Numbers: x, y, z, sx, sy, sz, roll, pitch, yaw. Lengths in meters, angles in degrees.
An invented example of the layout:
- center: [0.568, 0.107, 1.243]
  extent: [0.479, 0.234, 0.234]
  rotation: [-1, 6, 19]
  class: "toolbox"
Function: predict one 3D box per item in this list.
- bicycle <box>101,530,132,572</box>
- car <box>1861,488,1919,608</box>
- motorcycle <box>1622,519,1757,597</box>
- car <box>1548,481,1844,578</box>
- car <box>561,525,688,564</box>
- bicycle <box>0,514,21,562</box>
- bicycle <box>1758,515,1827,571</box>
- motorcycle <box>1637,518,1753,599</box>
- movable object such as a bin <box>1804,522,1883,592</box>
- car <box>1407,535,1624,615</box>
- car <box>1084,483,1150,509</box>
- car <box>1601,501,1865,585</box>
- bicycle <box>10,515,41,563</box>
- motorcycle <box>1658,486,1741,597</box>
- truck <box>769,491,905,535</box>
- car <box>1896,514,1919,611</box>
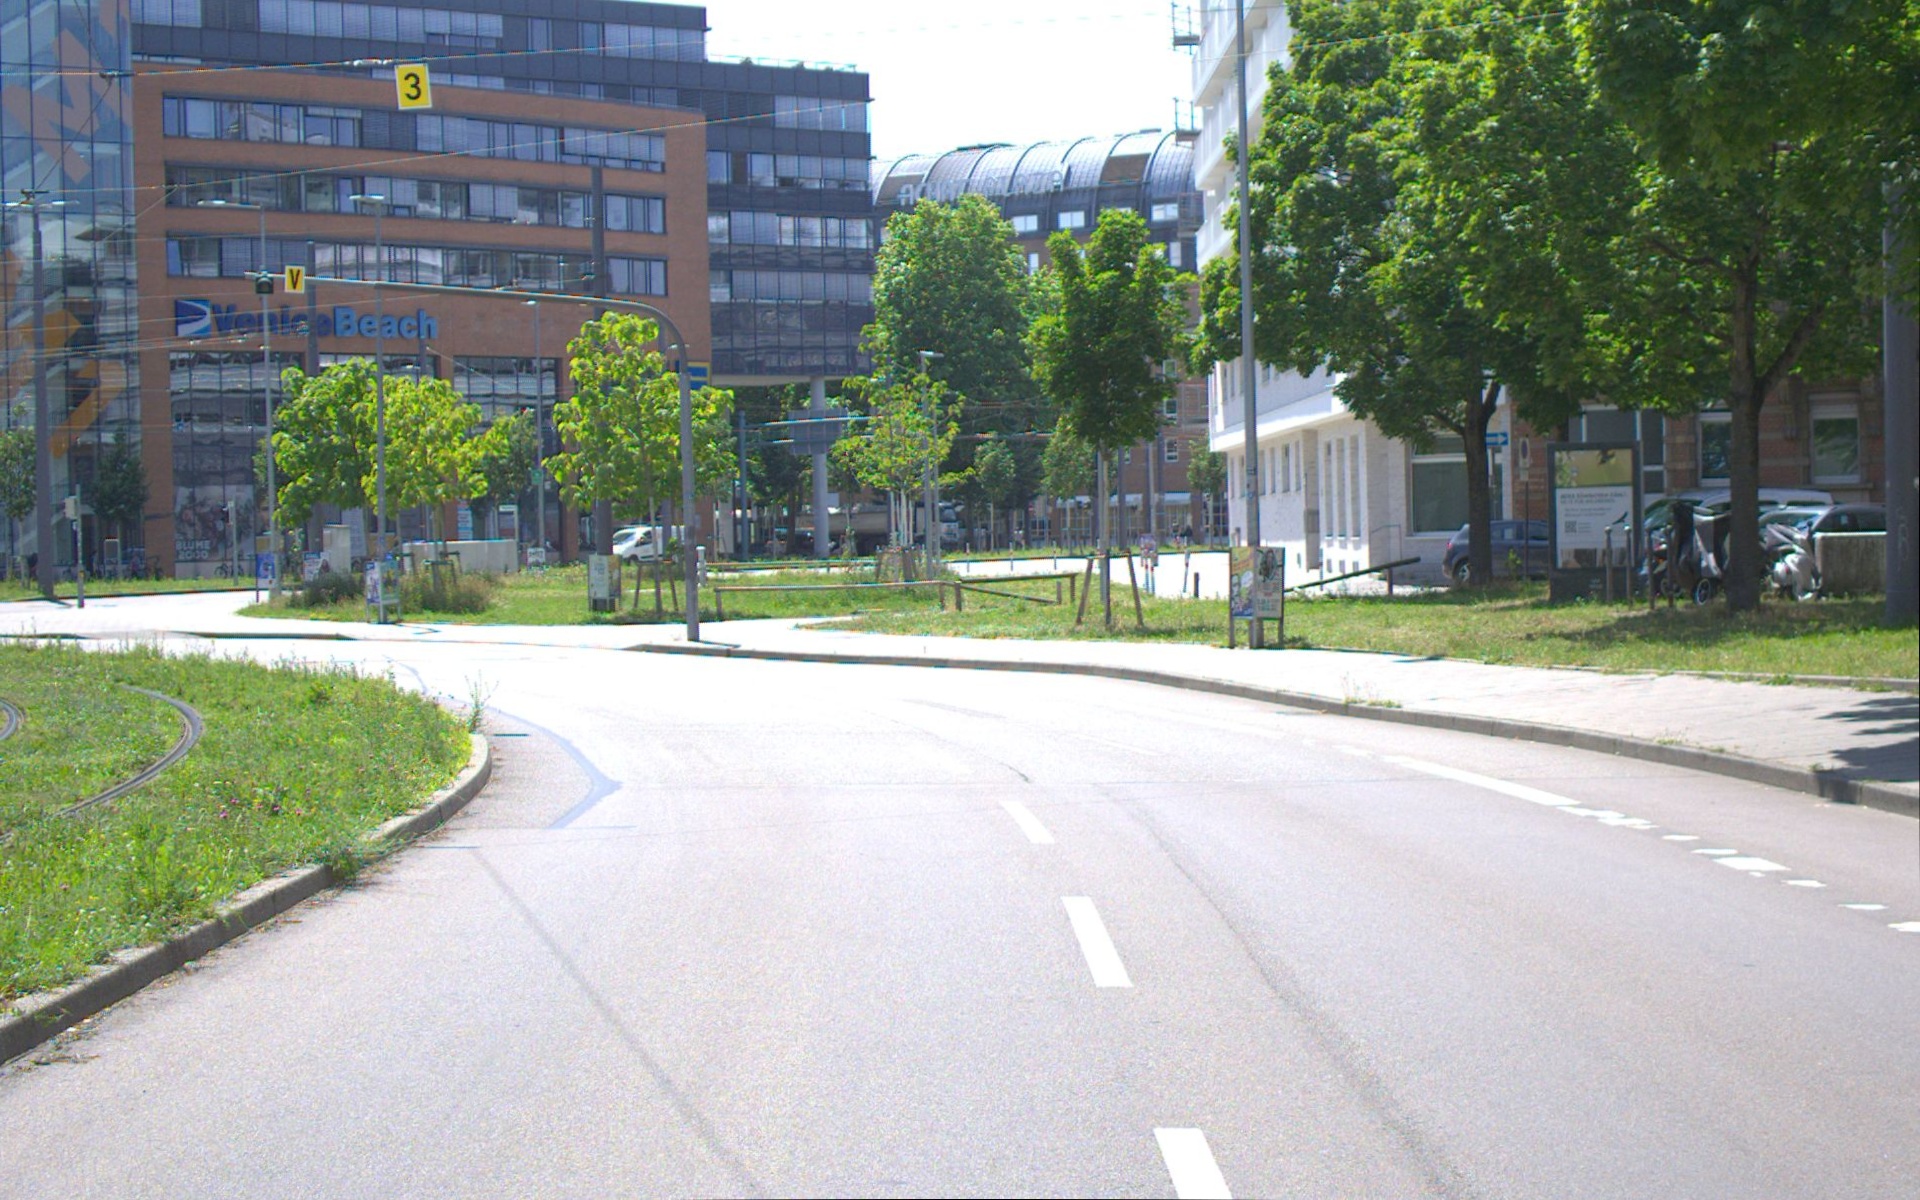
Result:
- center: [-36.387, -2.124, 148.238]
  extent: [0.485, 1.790, 2.258]
  rotation: [0, 1, -36]
  class: "bicycle"
- center: [12.827, -0.605, 40.382]
  extent: [4.333, 1.371, 1.583]
  rotation: [0, 1, -26]
  class: "car"
- center: [10.507, -0.605, 49.517]
  extent: [1.821, 1.116, 0.528]
  rotation: [0, 1, -7]
  class: "motorcycle"
- center: [12.592, -1.188, 58.767]
  extent: [4.858, 1.595, 1.836]
  rotation: [0, 1, -27]
  class: "car"
- center: [-14.654, -2.407, 150.424]
  extent: [5.466, 1.662, 1.999]
  rotation: [0, 1, -43]
  class: "car"
- center: [-40.245, -2.604, 144.862]
  extent: [0.485, 2.007, 2.346]
  rotation: [0, 1, -36]
  class: "bicycle"
- center: [12.183, -0.827, 50.273]
  extent: [0.498, 0.802, 1.453]
  rotation: [1, 1, 34]
  class: "bicycle"
- center: [10.323, -0.587, 48.309]
  extent: [1.520, 1.116, 0.478]
  rotation: [0, 1, 0]
  class: "motorcycle"
- center: [11.913, -0.586, 46.364]
  extent: [0.986, 0.934, 0.701]
  rotation: [1, 1, 11]
  class: "movable object such as a bin"
- center: [11.602, -0.534, 71.851]
  extent: [4.124, 1.619, 1.692]
  rotation: [1, 1, 29]
  class: "car"
- center: [10.580, -6.969, 231.517]
  extent: [3.994, 1.722, 1.863]
  rotation: [1, 1, 30]
  class: "car"
- center: [12.576, -0.915, 55.922]
  extent: [3.986, 1.327, 1.759]
  rotation: [0, 1, -27]
  class: "car"
- center: [-39.538, -2.569, 145.397]
  extent: [0.485, 2.007, 2.346]
  rotation: [0, 1, -36]
  class: "bicycle"
- center: [9.679, -0.768, 45.067]
  extent: [0.675, 1.408, 1.856]
  rotation: [-2, 1, 1]
  class: "motorcycle"
- center: [-8.004, -5.629, 223.005]
  extent: [9.226, 2.799, 1.996]
  rotation: [1, 1, 32]
  class: "truck"
- center: [15.638, -0.529, 49.394]
  extent: [3.988, 1.371, 1.956]
  rotation: [1, 1, 8]
  class: "car"
